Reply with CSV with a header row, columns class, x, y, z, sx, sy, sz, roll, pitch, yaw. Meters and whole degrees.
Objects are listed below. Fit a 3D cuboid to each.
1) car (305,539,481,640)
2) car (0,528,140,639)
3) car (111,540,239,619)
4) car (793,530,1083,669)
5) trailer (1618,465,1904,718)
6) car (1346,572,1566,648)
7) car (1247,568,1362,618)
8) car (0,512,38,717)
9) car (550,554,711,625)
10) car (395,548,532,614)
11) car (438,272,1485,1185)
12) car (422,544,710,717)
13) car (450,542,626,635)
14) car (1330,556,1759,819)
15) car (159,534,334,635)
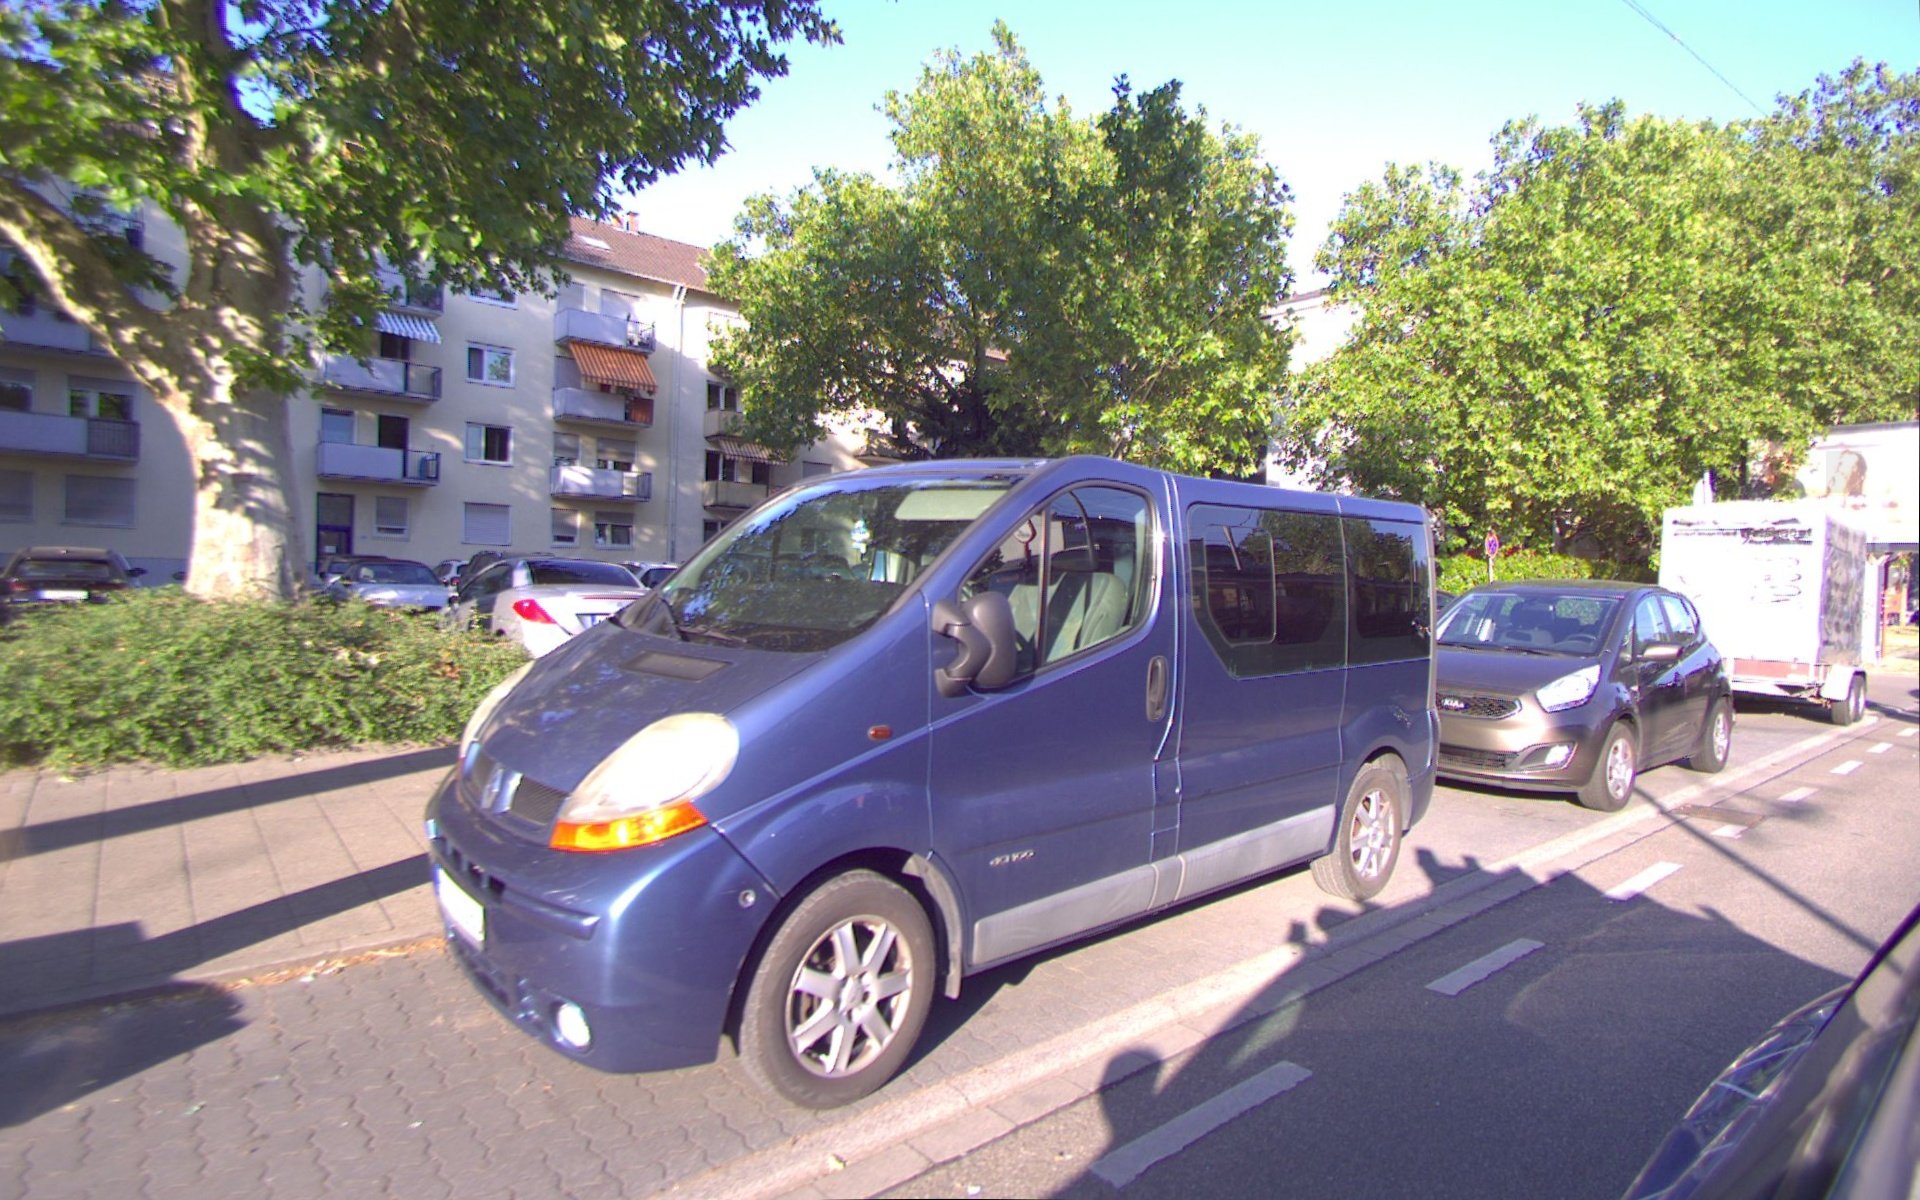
class,x,y,z,sx,sy,sz,roll,pitch,yaw
car,-10.895,-0.249,19.312,1.966,1.712,4.286,0,2,-43
car,-14.575,-0.304,16.185,1.966,1.554,4.286,0,2,-43
car,-16.579,-0.459,21.300,1.787,1.514,3.875,0,2,-43
car,-0.445,0.006,13.563,1.770,1.570,4.121,1,-1,-38
trailer,10.151,-0.113,12.698,4.568,2.620,1.889,0,1,-40
car,11.273,0.160,23.091,4.267,1.514,1.975,2,2,35
car,11.969,-0.246,35.058,4.222,1.630,1.819,0,2,-40
car,-8.172,0.085,7.422,1.770,1.513,4.123,1,2,-38
car,-7.827,-0.290,23.796,1.966,1.514,4.286,0,2,-43
car,-12.581,-0.507,25.508,1.949,1.514,4.286,0,2,-43
car,0.371,0.274,4.506,4.482,2.104,1.889,0,1,-40
car,-4.427,0.190,10.978,1.770,1.513,4.123,1,2,-38
car,-8.876,-0.290,21.083,1.966,1.712,4.448,0,2,-43
car,4.926,0.521,8.316,3.929,1.651,1.799,0,2,-40
car,-12.653,-0.311,17.834,1.966,1.554,4.286,0,2,-43
